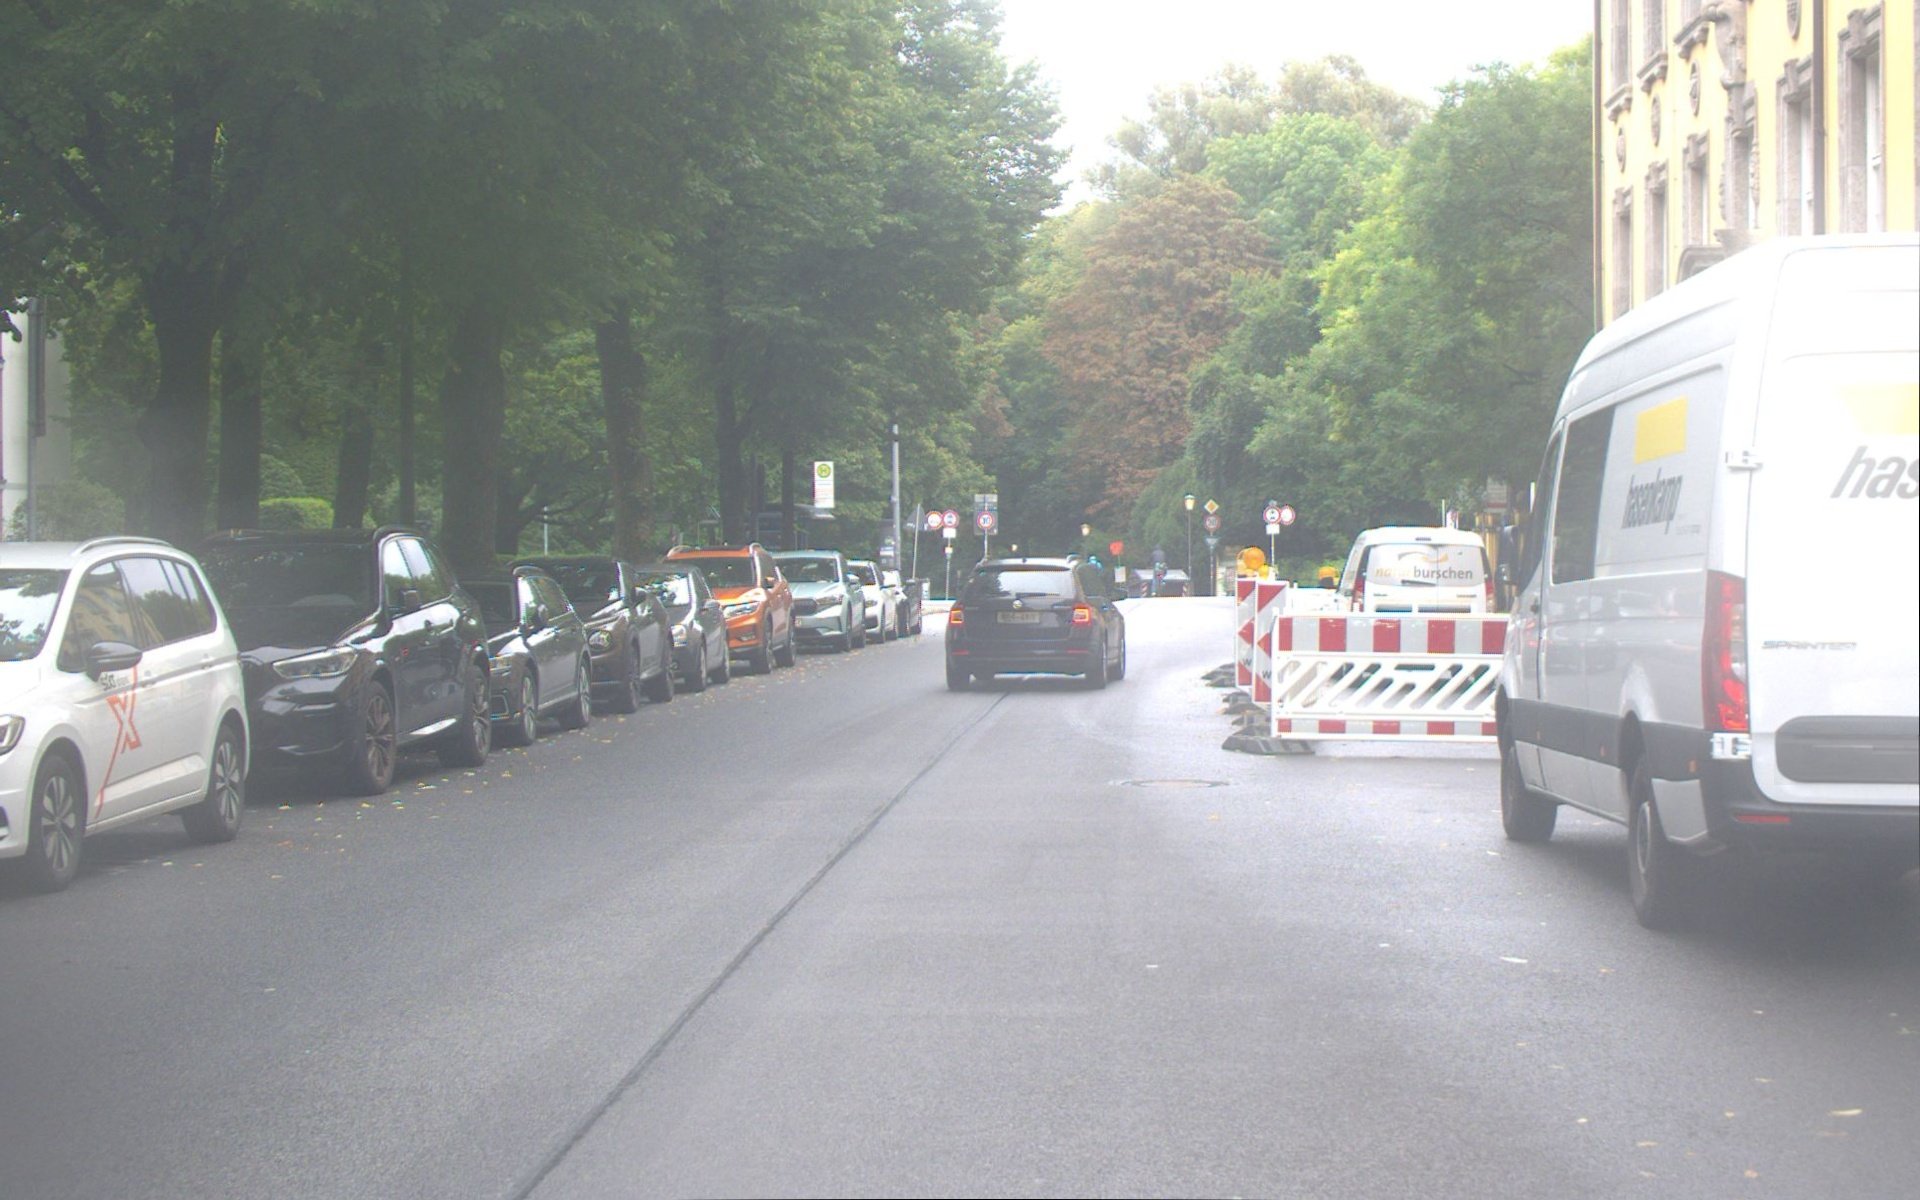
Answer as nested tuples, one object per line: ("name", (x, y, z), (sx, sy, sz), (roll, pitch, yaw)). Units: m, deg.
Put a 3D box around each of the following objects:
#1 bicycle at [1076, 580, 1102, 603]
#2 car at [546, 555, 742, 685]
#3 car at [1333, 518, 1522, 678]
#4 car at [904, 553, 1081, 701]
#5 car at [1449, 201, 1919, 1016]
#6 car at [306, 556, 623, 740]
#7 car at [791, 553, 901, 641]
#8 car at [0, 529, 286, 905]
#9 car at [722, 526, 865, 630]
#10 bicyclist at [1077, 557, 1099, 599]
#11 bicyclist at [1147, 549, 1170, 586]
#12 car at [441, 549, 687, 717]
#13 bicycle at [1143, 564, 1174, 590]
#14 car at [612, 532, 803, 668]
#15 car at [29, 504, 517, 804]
("bicycle", (4.705, -0.294, 125.317), (0.679, 0.827, 2.110), (0, 0, -6))
("car", (-3.642, 0.196, 40.246), (1.727, 1.418, 4.251), (0, 1, 2))
("car", (5.364, -0.020, 39.915), (1.740, 1.744, 4.356), (0, 0, 2))
("car", (0.417, 0.268, 38.692), (1.578, 1.578, 4.043), (0, 1, 6))
("car", (3.634, -0.009, 15.041), (2.054, 2.664, 7.614), (0, 0, 1))
("car", (-4.152, 0.357, 29.519), (1.719, 1.446, 4.695), (0, 1, 4))
("car", (-1.983, -0.072, 61.041), (1.577, 1.492, 4.199), (0, 1, 3))
("car", (-4.859, 0.521, 16.993), (1.765, 1.616, 4.522), (-3, 0, 5))
("car", (-2.623, -0.362, 55.051), (1.815, 1.596, 4.513), (0, 1, 3))
("bicyclist", (4.680, -0.807, 125.319), (0.680, 1.499, 0.901), (-1, 1, -5))
("bicyclist", (6.459, -1.061, 111.899), (0.680, 1.183, 0.481), (-1, 1, -7))
("car", (-3.944, 0.281, 34.909), (1.786, 1.569, 4.486), (0, 1, 2))
("bicycle", (6.442, -0.733, 111.872), (0.679, 0.827, 2.110), (0, 0, -6))
("car", (-3.329, -0.029, 46.186), (1.873, 1.722, 4.640), (0, 1, 4))
("car", (-4.544, 0.307, 23.589), (1.994, 1.791, 4.920), (-2, 1, 4))
